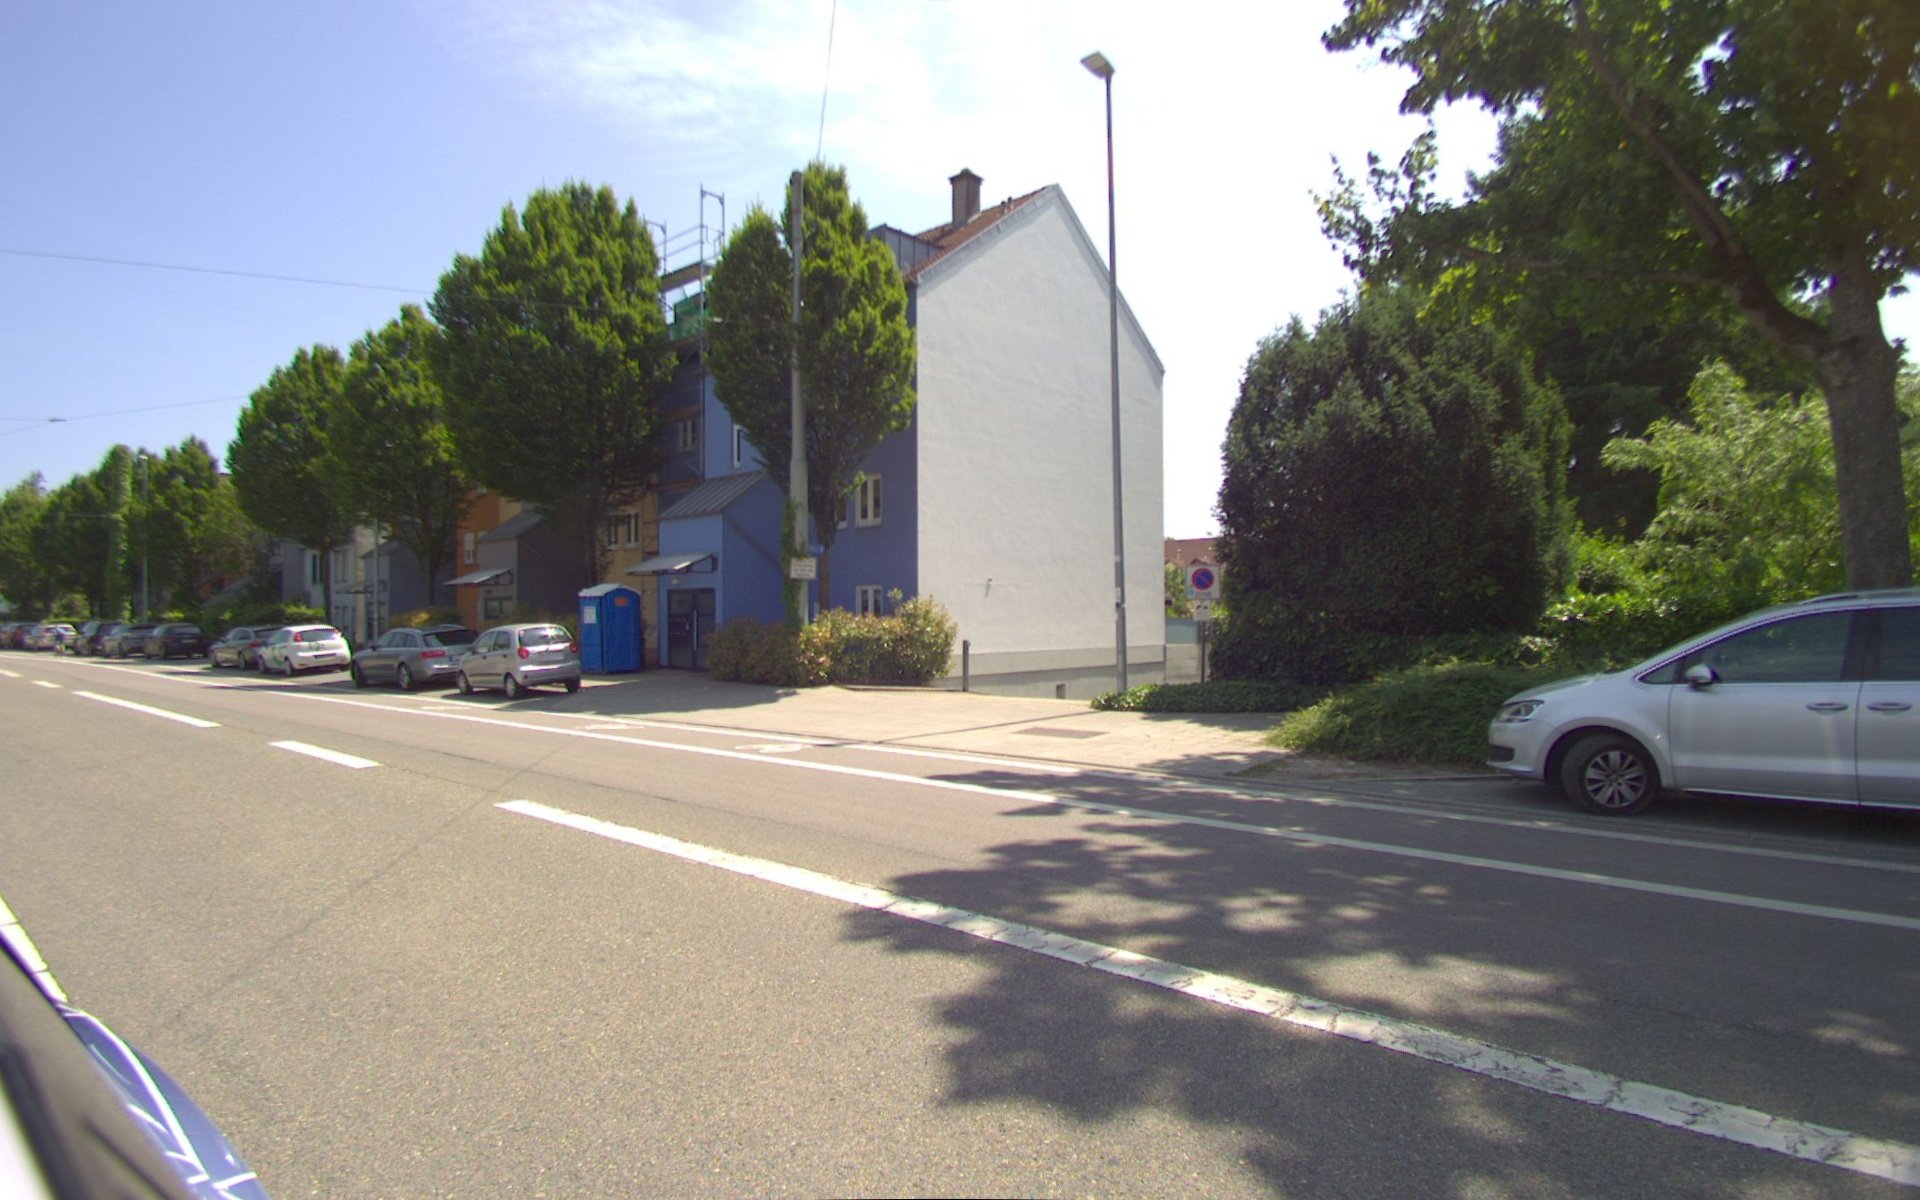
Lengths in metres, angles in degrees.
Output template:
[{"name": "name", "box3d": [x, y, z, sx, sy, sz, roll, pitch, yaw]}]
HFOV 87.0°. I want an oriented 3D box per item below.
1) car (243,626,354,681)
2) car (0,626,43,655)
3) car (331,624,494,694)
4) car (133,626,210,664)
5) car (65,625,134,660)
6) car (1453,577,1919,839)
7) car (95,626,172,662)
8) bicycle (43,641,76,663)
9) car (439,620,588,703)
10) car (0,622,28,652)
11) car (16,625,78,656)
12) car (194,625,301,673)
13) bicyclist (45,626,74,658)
[{"name": "car", "box3d": [-21.023, 1.652, 32.090, 4.417, 1.453, 1.729, -2, 3, 41]}, {"name": "car", "box3d": [-56.021, 2.400, 60.072, 3.673, 1.606, 1.586, -2, 0, 35]}, {"name": "car", "box3d": [-13.805, 1.449, 25.365, 5.129, 1.461, 1.769, -2, 2, 40]}, {"name": "car", "box3d": [-33.468, 1.884, 42.925, 4.254, 1.443, 1.732, -1, 1, 40]}, {"name": "car", "box3d": [-42.271, 2.071, 49.704, 4.142, 1.601, 1.750, -2, 0, 38]}, {"name": "car", "box3d": [6.476, 0.701, 7.454, 4.778, 1.677, 1.853, -2, -1, 41]}, {"name": "car", "box3d": [-37.690, 1.988, 46.115, 4.752, 1.507, 1.807, -2, 0, 39]}, {"name": "bicycle", "box3d": [-40.825, 2.348, 45.866, 2.240, 0.958, 0.695, -2, -4, 39]}, {"name": "car", "box3d": [-9.722, 1.281, 21.953, 3.447, 1.506, 1.577, -2, 3, 41]}, {"name": "car", "box3d": [-60.181, 2.324, 63.216, 4.548, 1.807, 1.976, -1, -1, 35]}, {"name": "car", "box3d": [-51.164, 2.263, 56.703, 4.490, 1.594, 1.823, -2, 0, 38]}, {"name": "car", "box3d": [-25.117, 1.712, 35.629, 4.744, 1.440, 1.688, -2, 3, 38]}, {"name": "bicyclist", "box3d": [-40.866, 1.912, 45.940, 1.123, 1.442, 0.728, -1, -5, 38]}]
